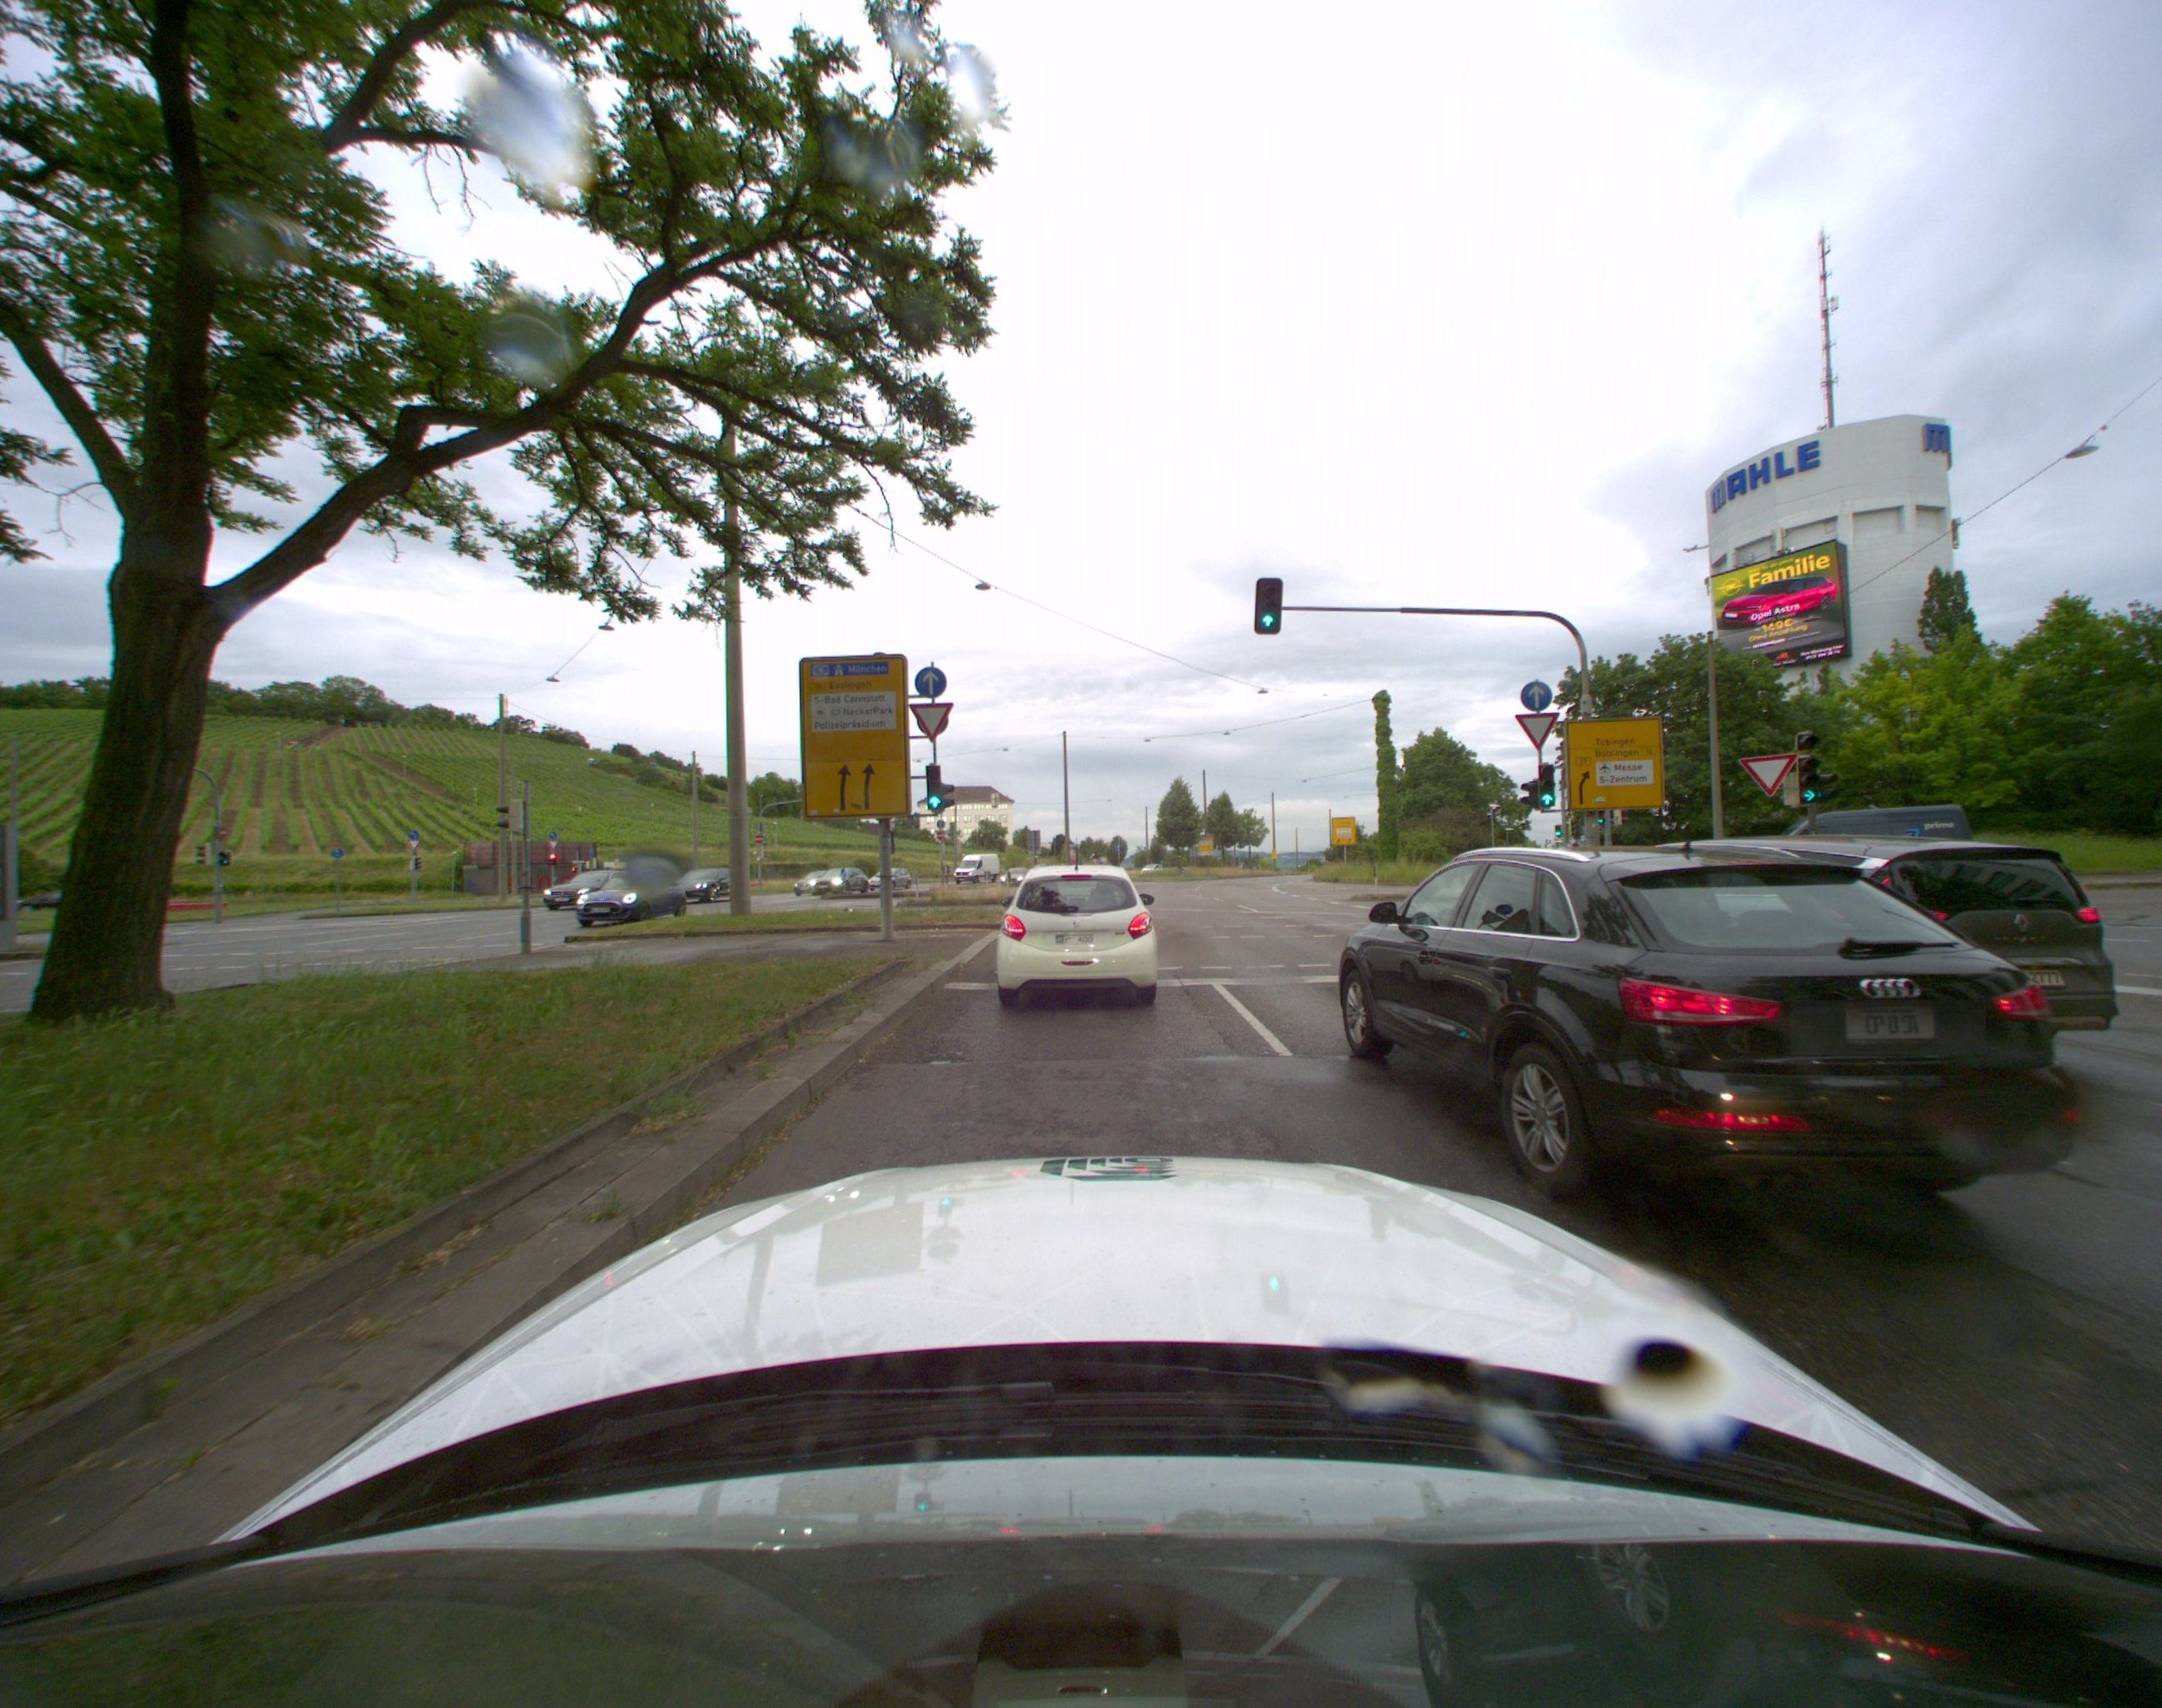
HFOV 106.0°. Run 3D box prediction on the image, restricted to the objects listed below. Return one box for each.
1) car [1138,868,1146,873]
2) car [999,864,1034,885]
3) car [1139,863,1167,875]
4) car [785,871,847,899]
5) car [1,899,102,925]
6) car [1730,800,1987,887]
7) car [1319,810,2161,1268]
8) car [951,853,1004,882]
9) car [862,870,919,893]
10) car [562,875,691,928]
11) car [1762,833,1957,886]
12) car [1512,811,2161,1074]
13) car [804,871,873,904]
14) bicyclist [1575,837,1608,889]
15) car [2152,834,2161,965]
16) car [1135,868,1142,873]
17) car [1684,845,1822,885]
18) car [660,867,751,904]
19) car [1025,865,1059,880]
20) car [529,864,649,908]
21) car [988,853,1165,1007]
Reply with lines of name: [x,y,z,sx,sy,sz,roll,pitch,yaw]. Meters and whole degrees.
car: [17.576,4.704,235.466,1.836,1.486,3.998,-1,-1,-1]
car: [-4.778,1.540,61.304,1.766,1.425,4.381,-2,-1,6]
car: [9.212,1.907,104.407,1.734,1.513,4.025,-1,-1,37]
car: [-15.893,1.836,49.131,1.815,1.472,4.675,-2,0,5]
car: [-67.701,3.810,53.641,3.786,1.518,1.839,1,-1,-39]
car: [26.255,-0.258,27.889,5.953,2.742,2.093,-1,-2,27]
car: [2.965,0.687,4.925,1.878,1.596,4.112,0,-1,0]
car: [-9.419,1.240,74.797,1.976,2.559,6.203,0,-1,24]
car: [-13.832,1.969,59.428,1.977,1.576,4.216,0,-1,20]
car: [-13.099,1.332,23.763,1.783,1.396,3.875,0,-2,-5]
car: [24.262,0.225,25.599,4.012,1.569,1.881,-1,-3,24]
car: [6.129,0.566,7.546,1.859,1.674,4.565,-1,0,0]
car: [-12.976,1.765,43.884,1.892,1.489,4.898,-1,0,4]
bicyclist: [15.897,0.291,25.375,0.801,1.584,1.029,0,-1,28]
car: [12.035,0.548,7.282,1.847,1.497,4.178,0,1,36]
car: [17.175,4.855,243.856,1.836,1.486,3.998,-1,-1,-1]
car: [28.199,0.484,34.334,4.094,1.564,1.881,-1,-1,22]
car: [-16.049,1.290,35.080,1.819,1.363,4.666,-1,0,-1]
car: [-4.130,1.992,87.025,1.976,1.513,4.255,0,-1,23]
car: [-19.211,1.214,32.074,1.823,1.624,4.567,0,-1,1]
car: [-0.015,0.778,9.975,1.712,1.489,4.000,-1,-1,1]
